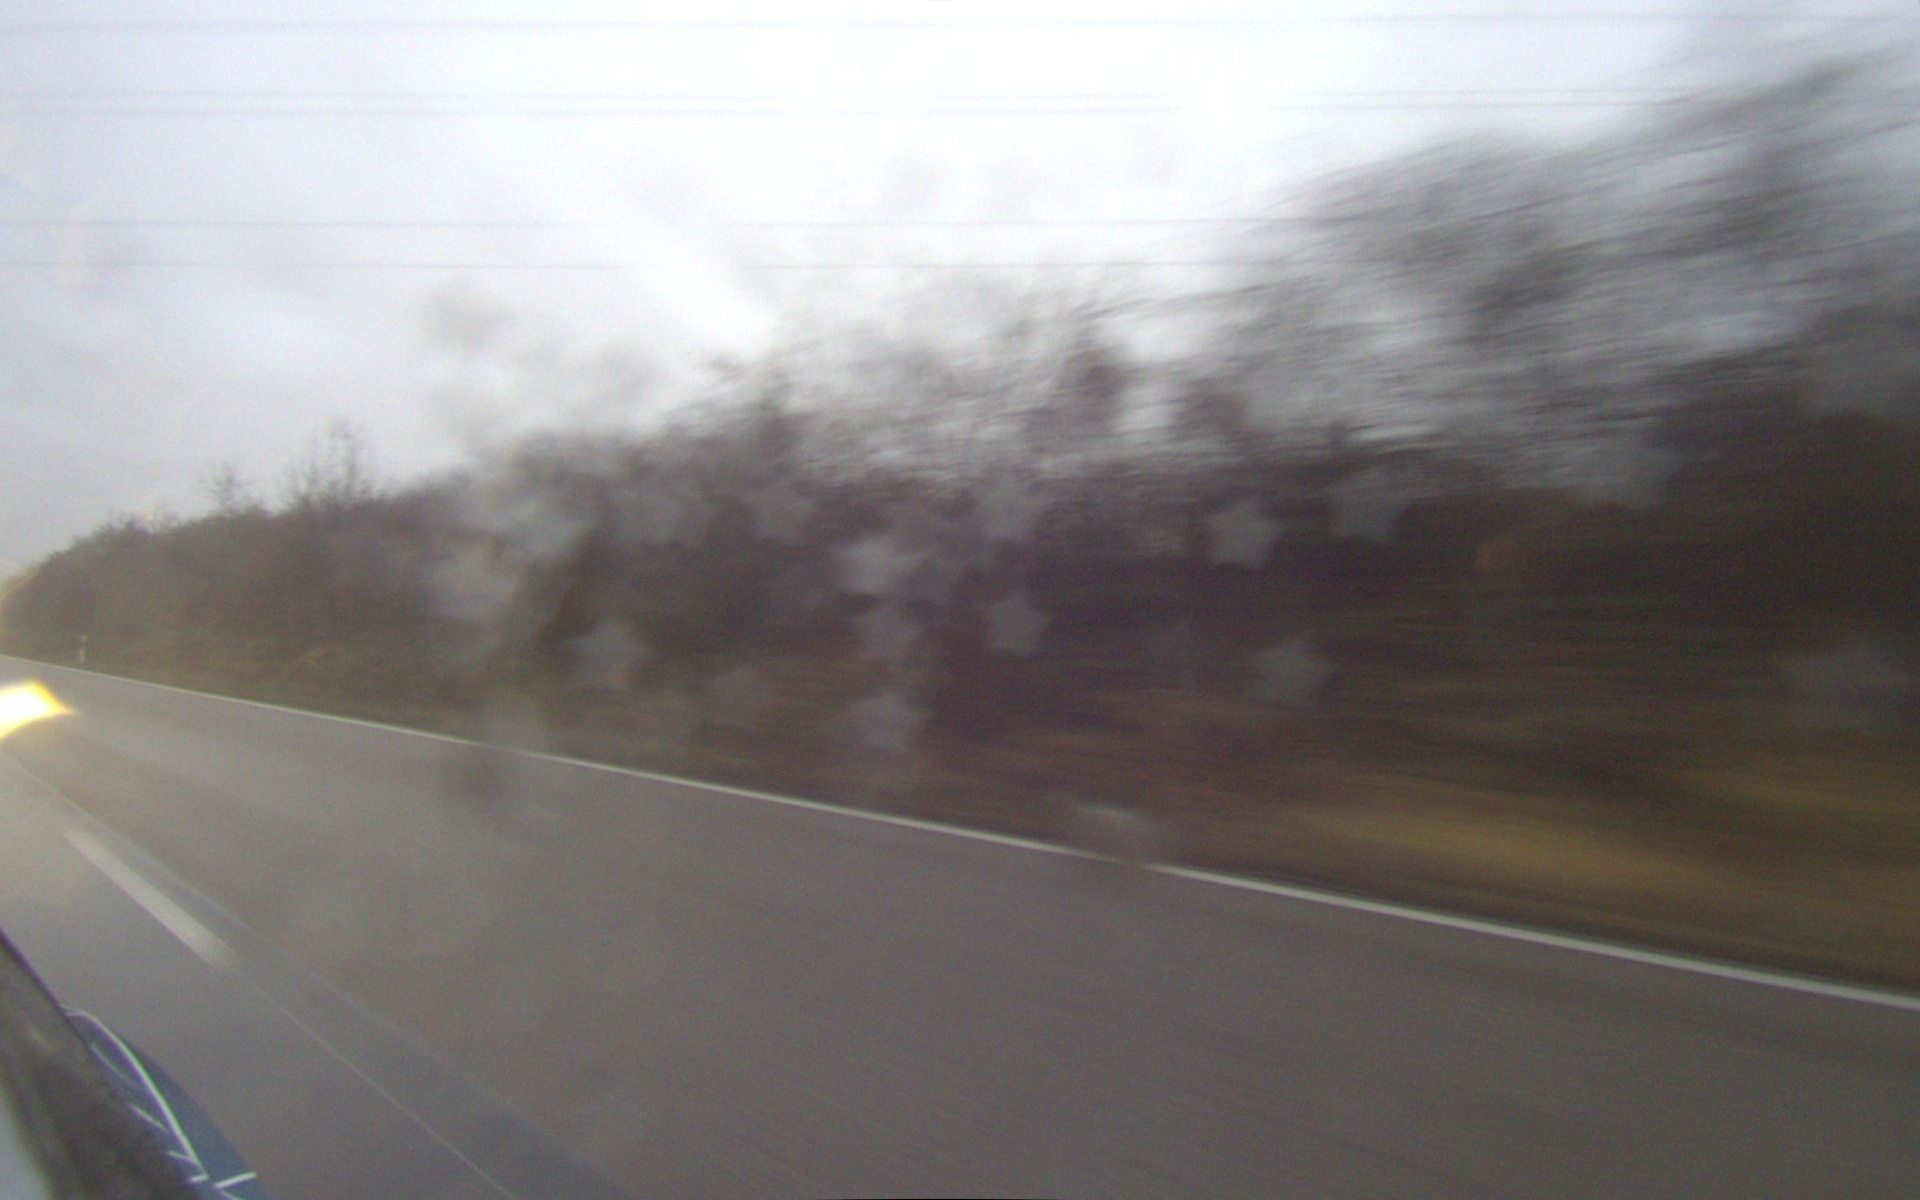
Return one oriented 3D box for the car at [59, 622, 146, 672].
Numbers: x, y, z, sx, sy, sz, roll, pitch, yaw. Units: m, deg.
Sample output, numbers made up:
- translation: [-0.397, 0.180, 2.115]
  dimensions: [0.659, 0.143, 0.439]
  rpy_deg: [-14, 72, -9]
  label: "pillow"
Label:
- translation: [-29.436, 1.560, 34.709]
  dimensions: [3.772, 1.621, 1.757]
  rpy_deg: [-1, -2, 42]
  label: "car"
